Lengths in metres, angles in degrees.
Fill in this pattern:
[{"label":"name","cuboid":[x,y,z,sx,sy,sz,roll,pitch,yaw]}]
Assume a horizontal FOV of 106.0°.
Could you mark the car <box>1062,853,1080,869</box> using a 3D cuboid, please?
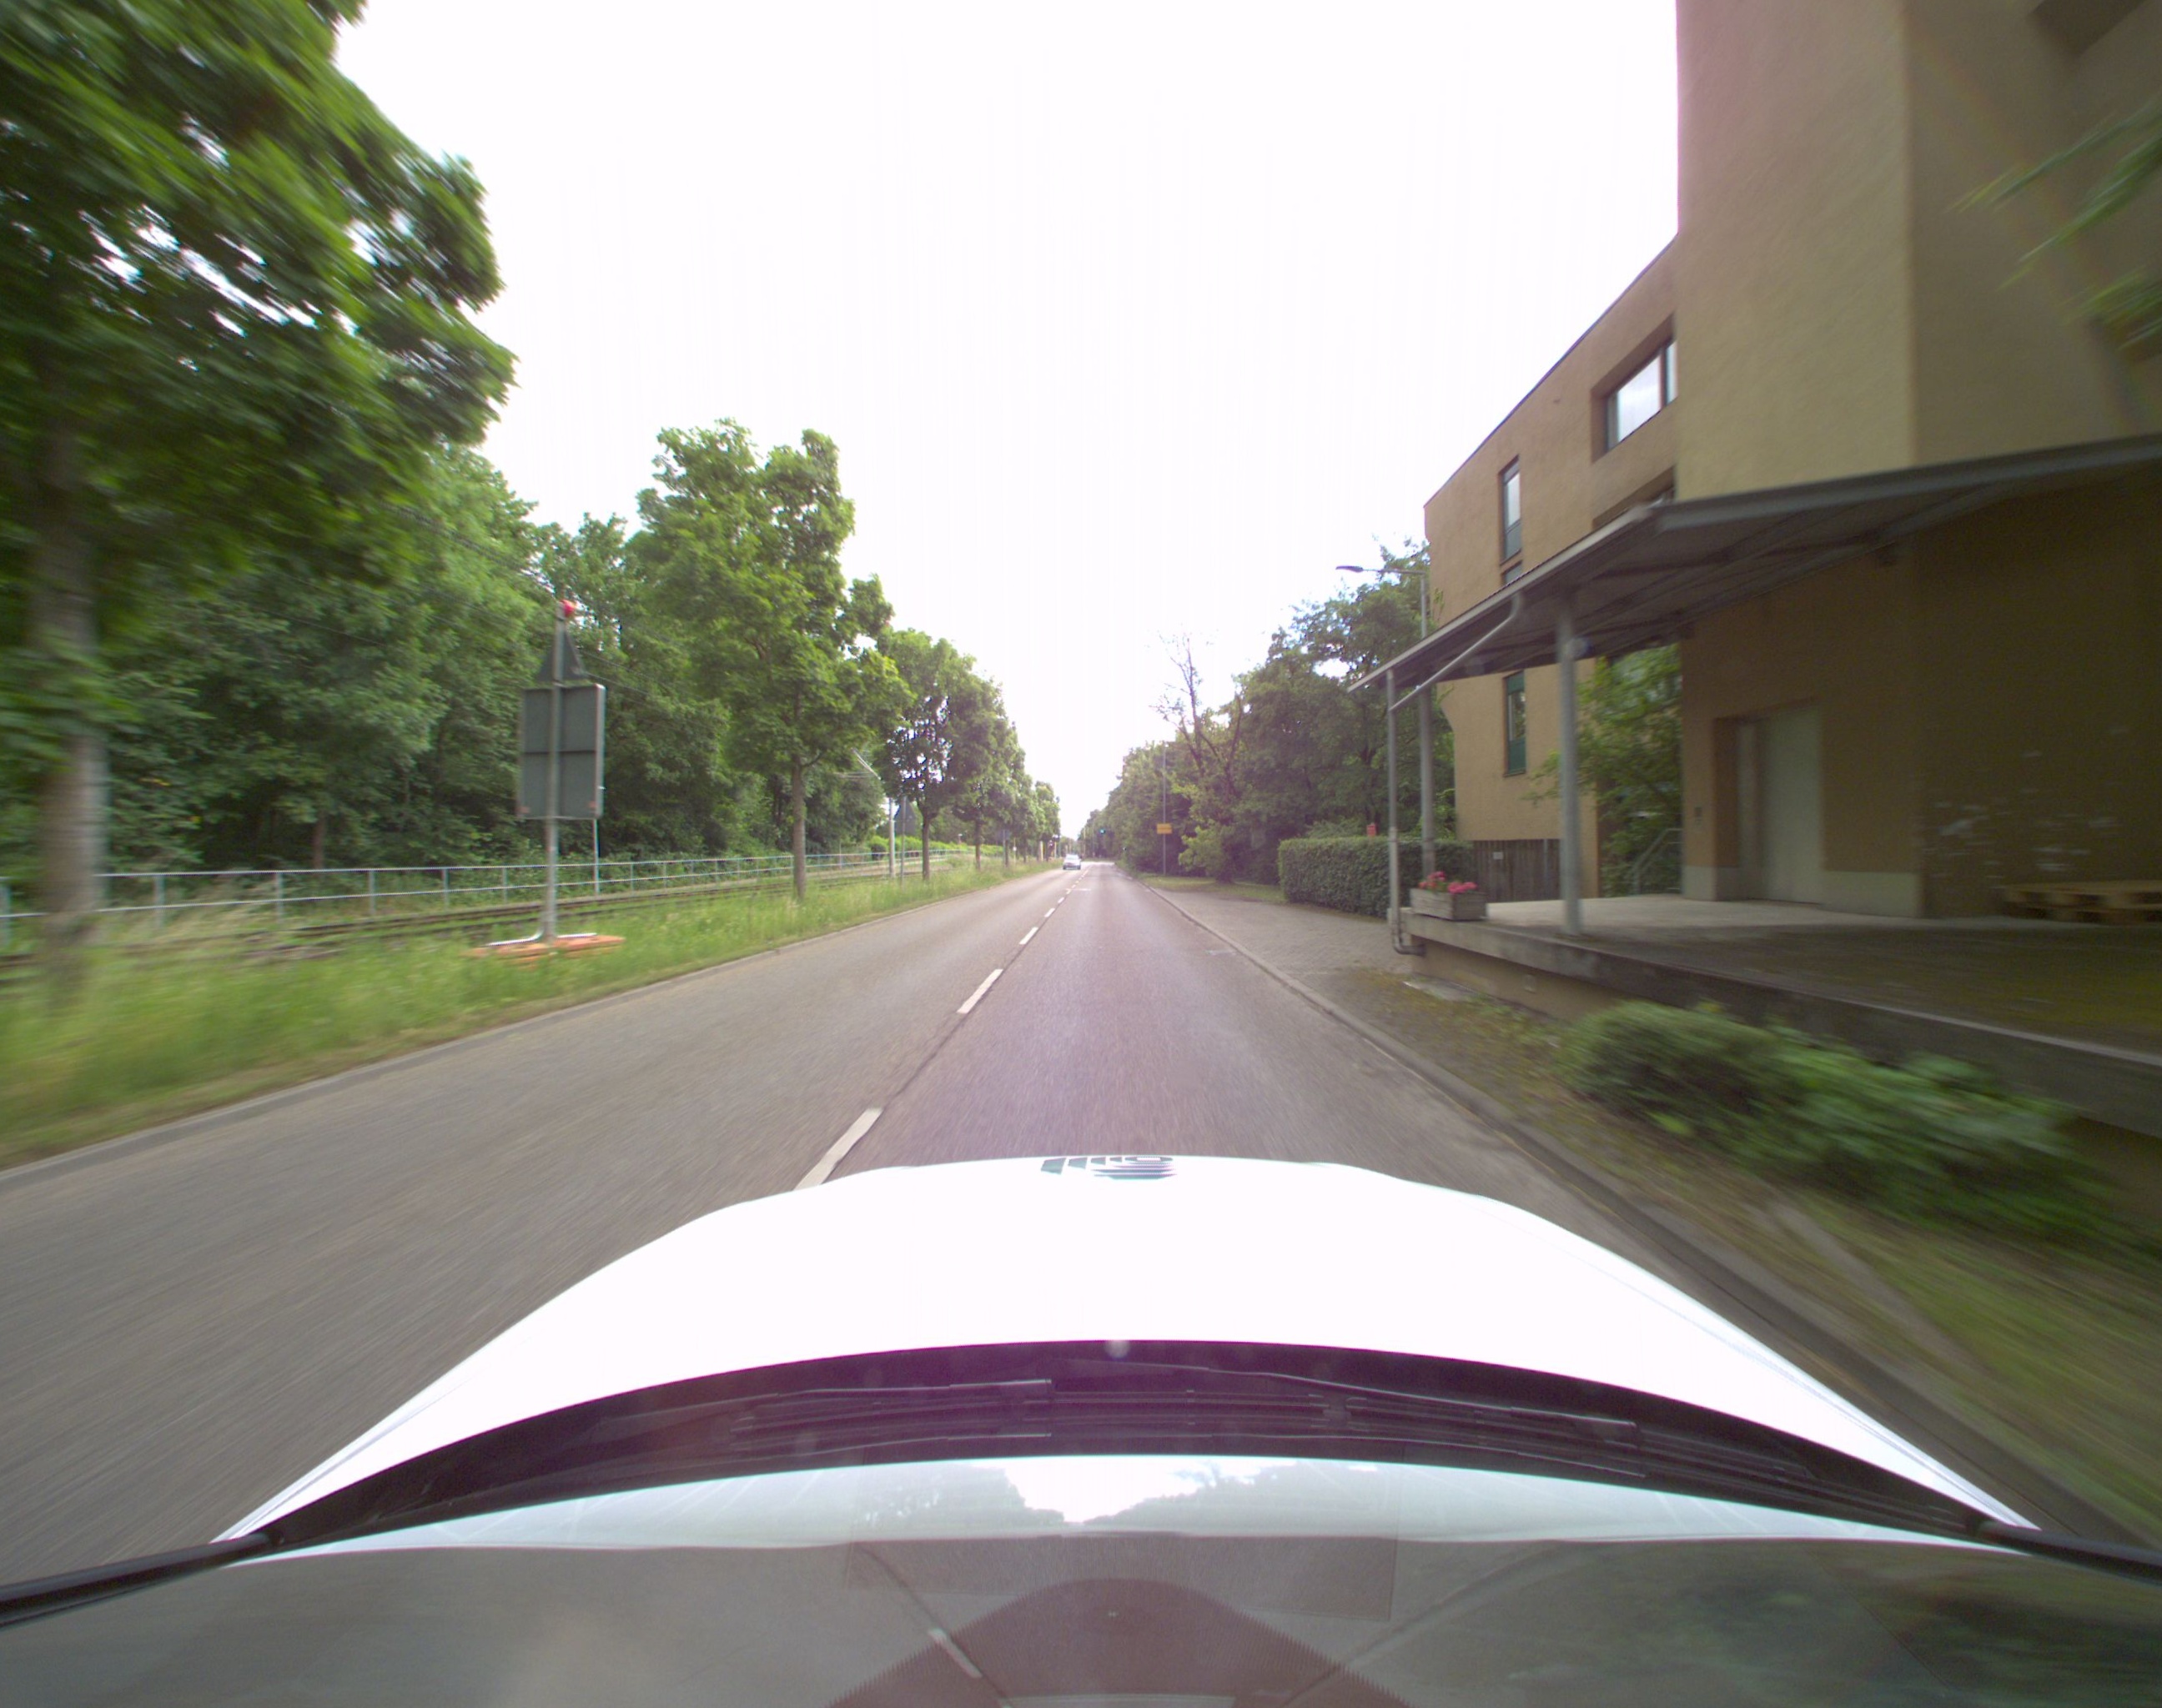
[{"label":"car","cuboid":[-1.034,0.674,85.047,1.709,1.629,4.002,0,0,2]}]
